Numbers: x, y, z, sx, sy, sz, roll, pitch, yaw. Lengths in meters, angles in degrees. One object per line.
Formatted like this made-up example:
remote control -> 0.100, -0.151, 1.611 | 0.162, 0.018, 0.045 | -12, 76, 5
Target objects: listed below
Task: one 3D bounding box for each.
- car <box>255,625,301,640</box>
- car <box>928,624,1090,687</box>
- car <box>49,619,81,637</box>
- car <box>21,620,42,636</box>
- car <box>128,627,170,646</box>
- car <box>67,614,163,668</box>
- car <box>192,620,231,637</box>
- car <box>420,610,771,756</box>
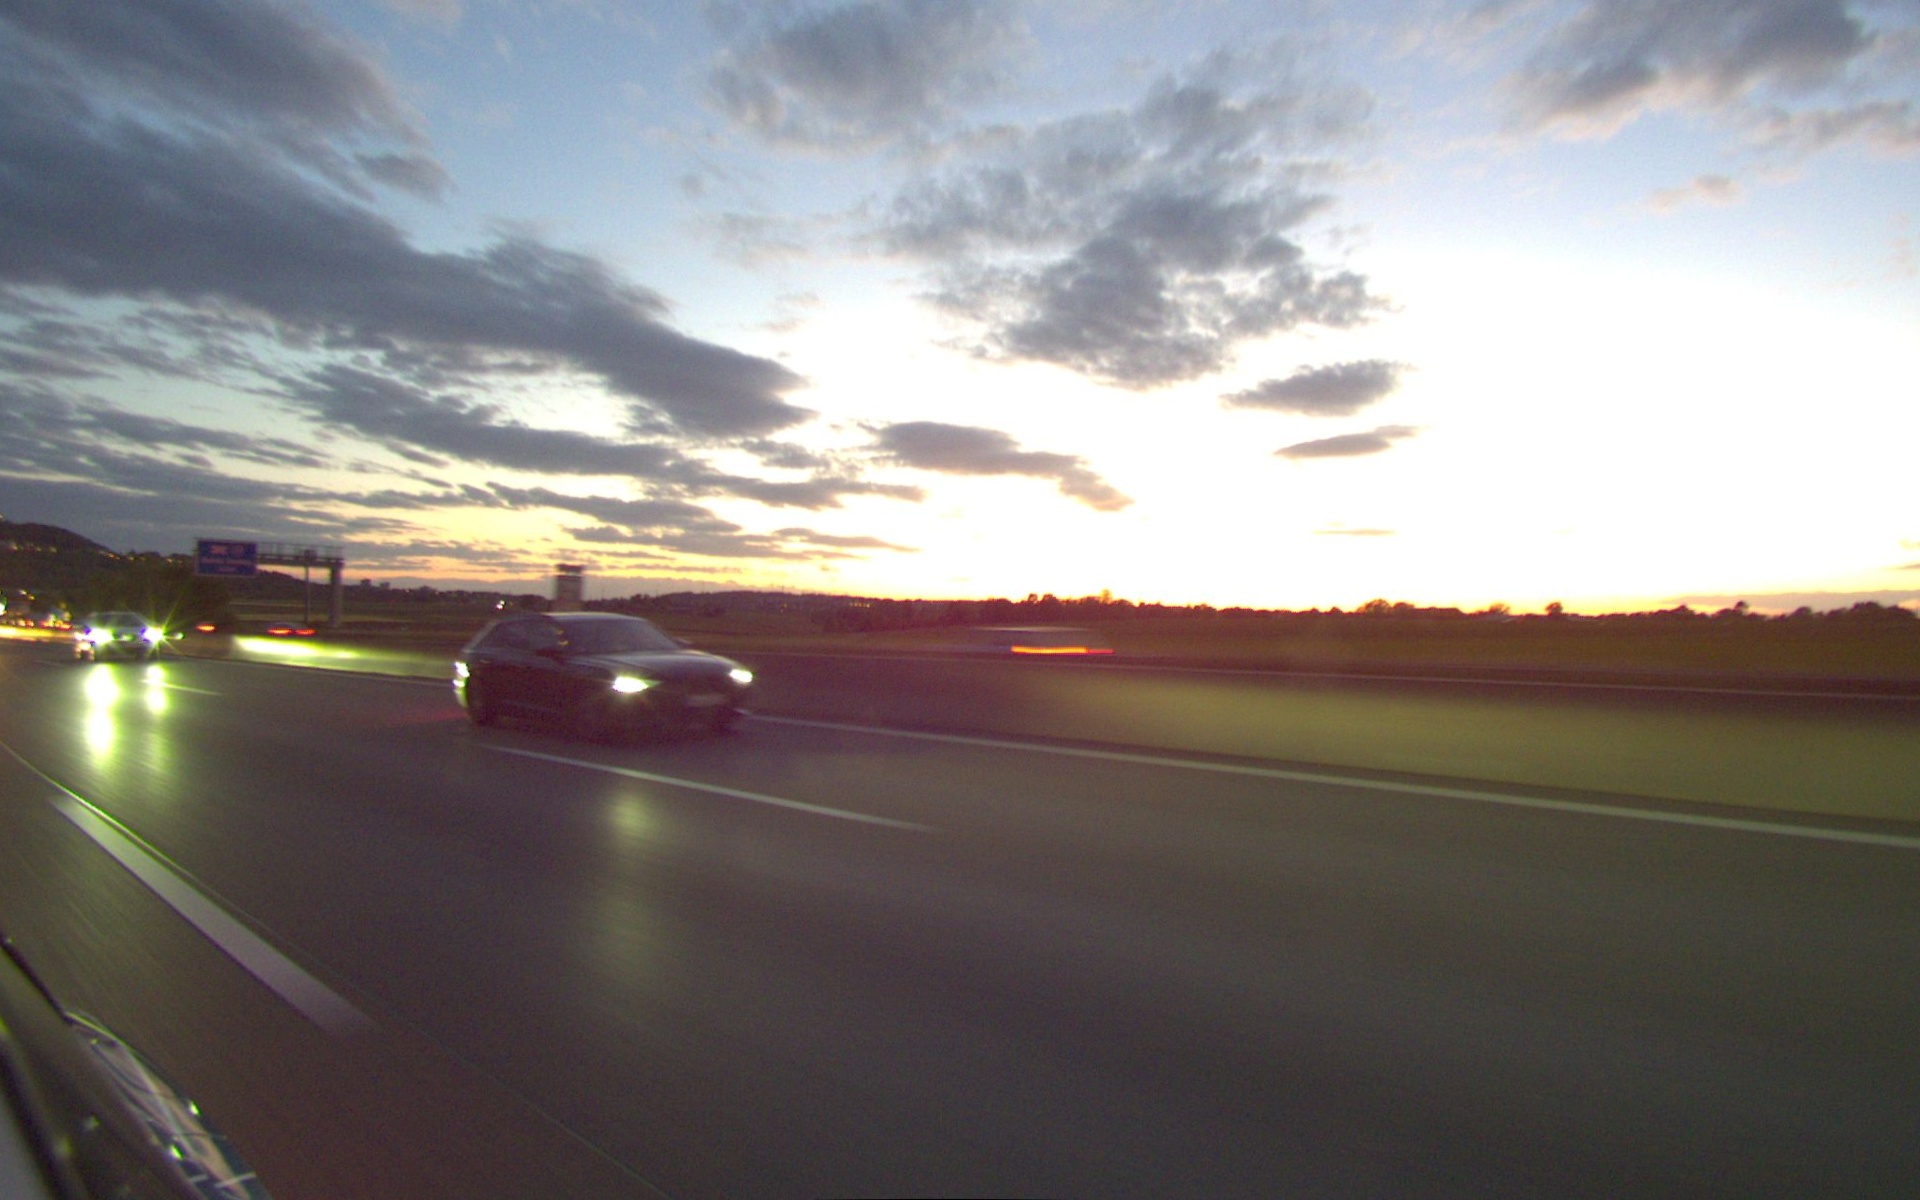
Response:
car -> -41.488, 1.972, 61.516 | 4.414, 0.800, 1.229 | -1, 0, 41
car -> 1.303, 1.497, 28.432 | 4.518, 1.546, 1.641 | -1, 0, 41
car -> -80.052, 2.489, 90.539 | 3.998, 1.464, 1.627 | -1, 0, 41
car -> -148.291, 4.442, 161.629 | 5.834, 2.405, 1.972 | -1, 0, 42
car -> -57.382, 2.571, 71.577 | 3.998, 1.227, 1.648 | -1, 0, 41
car -> -29.074, 1.352, 34.773 | 4.854, 1.660, 1.795 | -1, 0, 41
car -> -59.707, 2.260, 80.702 | 3.998, 1.189, 1.648 | -1, 0, 41
car -> -4.799, 0.876, 12.798 | 5.392, 1.448, 1.795 | -1, 0, 41
